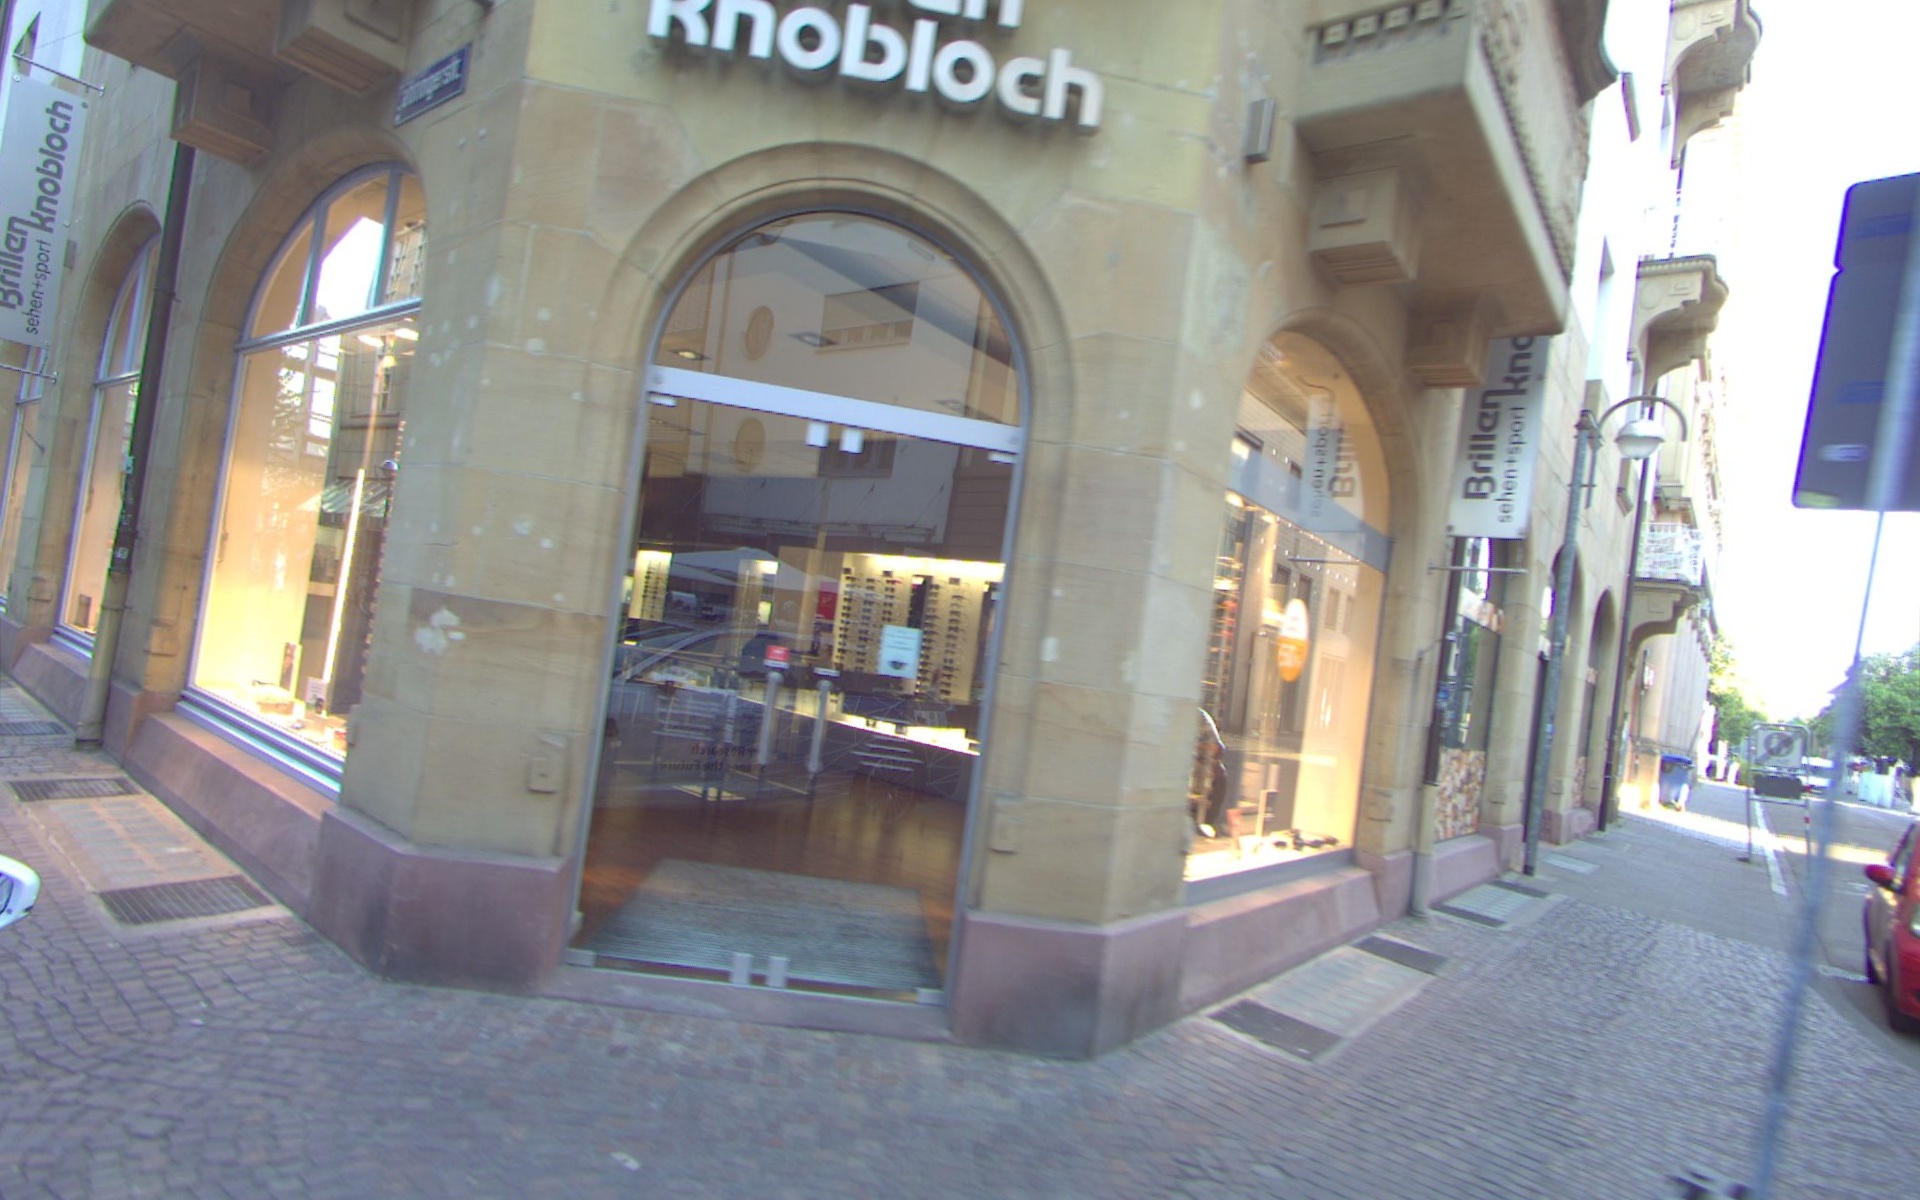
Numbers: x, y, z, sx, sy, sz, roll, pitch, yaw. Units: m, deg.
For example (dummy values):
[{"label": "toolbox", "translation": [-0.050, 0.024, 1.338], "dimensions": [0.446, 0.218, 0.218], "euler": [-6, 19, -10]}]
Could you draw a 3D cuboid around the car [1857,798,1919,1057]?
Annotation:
[{"label": "car", "translation": [7.663, 2.332, 7.227], "dimensions": [1.628, 1.458, 3.987], "euler": [3, -5, 40]}]

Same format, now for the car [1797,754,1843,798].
[{"label": "car", "translation": [54.395, 11.123, 63.623], "dimensions": [1.914, 2.330, 3.983], "euler": [6, -3, 43]}]
